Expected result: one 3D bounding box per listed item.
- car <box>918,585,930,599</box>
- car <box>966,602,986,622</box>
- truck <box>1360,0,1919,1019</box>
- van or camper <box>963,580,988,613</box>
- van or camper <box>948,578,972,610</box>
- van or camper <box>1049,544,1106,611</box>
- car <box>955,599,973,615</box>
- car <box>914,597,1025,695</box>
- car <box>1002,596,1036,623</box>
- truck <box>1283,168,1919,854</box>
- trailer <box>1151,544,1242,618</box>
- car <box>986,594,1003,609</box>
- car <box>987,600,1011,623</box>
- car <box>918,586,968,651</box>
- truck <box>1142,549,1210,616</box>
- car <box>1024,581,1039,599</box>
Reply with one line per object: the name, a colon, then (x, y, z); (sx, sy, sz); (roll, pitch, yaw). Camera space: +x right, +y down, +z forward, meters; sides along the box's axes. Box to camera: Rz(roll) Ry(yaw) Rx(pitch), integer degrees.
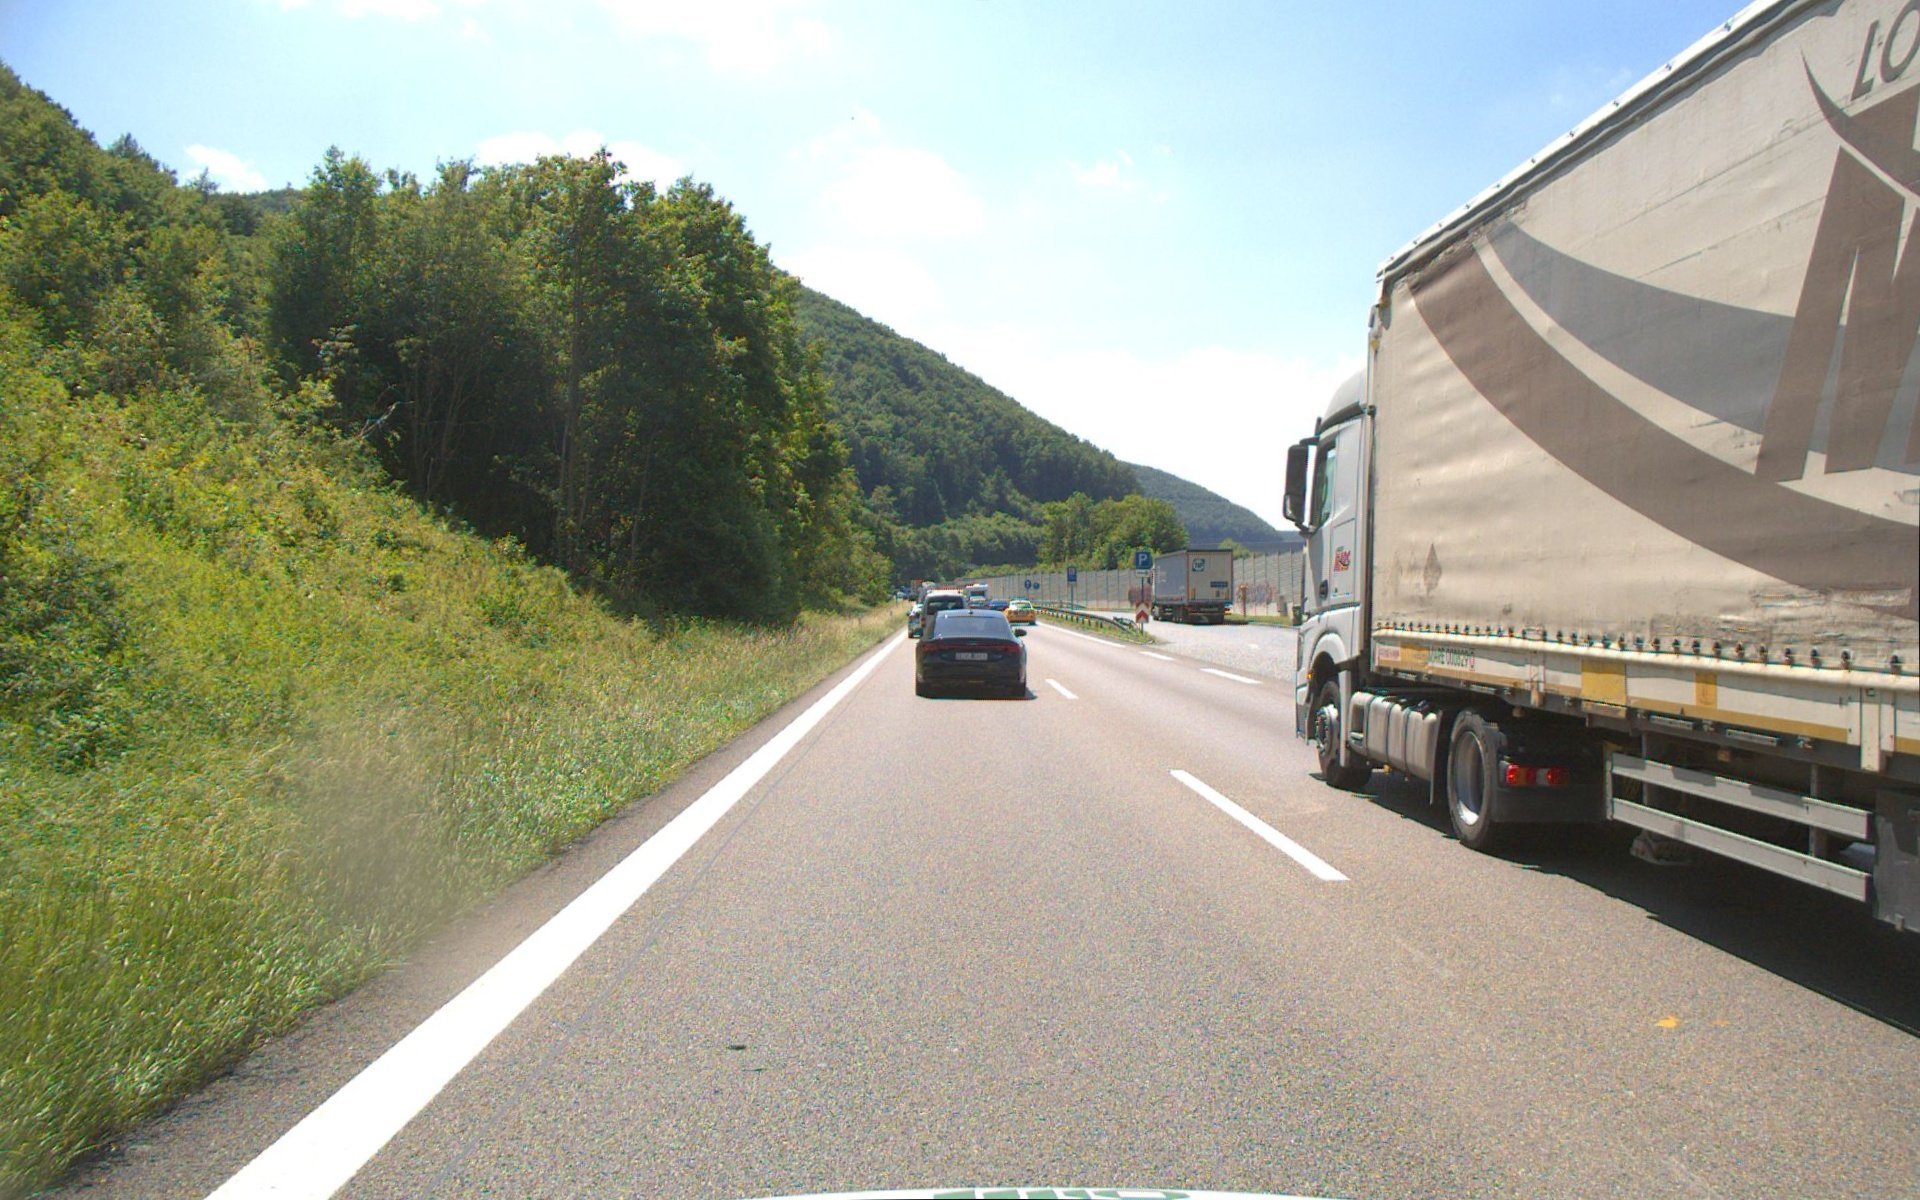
car: (-5.378, -1.146, 247.075); (1.653, 2.049, 3.999); (1, 0, -1)
car: (1.337, 1.008, 139.115); (1.499, 1.552, 3.596); (2, -1, -1)
truck: (4.669, -0.592, 6.169); (2.671, 4.139, 13.736); (1, -1, -1)
van or camper: (1.638, -0.366, 171.859); (2.380, 3.210, 5.202); (2, -1, -1)
van or camper: (-0.044, -0.804, 218.935); (2.739, 3.975, 6.163); (2, -1, -3)
van or camper: (7.340, -1.347, 104.110); (2.739, 3.909, 6.163); (2, -1, -3)
car: (0.468, 0.833, 199.789); (1.953, 1.825, 3.998); (2, -1, -1)
car: (0.147, 0.740, 28.226); (1.775, 1.541, 3.514); (1, 0, 0)
car: (3.513, 0.558, 98.543); (1.840, 1.525, 3.999); (1, 0, -1)
truck: (4.516, -0.506, 12.997); (2.664, 4.139, 5.752); (1, -1, -1)
trailer: (13.378, -1.020, 94.542); (3.342, 3.968, 11.148); (1, 0, -1)
car: (4.638, 0.213, 221.740); (1.953, 2.049, 3.998); (1, 0, -2)
car: (2.773, 0.838, 117.826); (1.499, 1.552, 3.596); (2, -1, -1)
car: (-0.570, 0.594, 54.437); (1.490, 2.002, 3.513); (3, -1, -1)
truck: (13.259, -1.034, 101.984); (3.342, 3.968, 5.386); (1, 0, -1)
car: (7.916, -1.105, 183.461); (1.544, 2.049, 3.427); (0, 0, -1)
